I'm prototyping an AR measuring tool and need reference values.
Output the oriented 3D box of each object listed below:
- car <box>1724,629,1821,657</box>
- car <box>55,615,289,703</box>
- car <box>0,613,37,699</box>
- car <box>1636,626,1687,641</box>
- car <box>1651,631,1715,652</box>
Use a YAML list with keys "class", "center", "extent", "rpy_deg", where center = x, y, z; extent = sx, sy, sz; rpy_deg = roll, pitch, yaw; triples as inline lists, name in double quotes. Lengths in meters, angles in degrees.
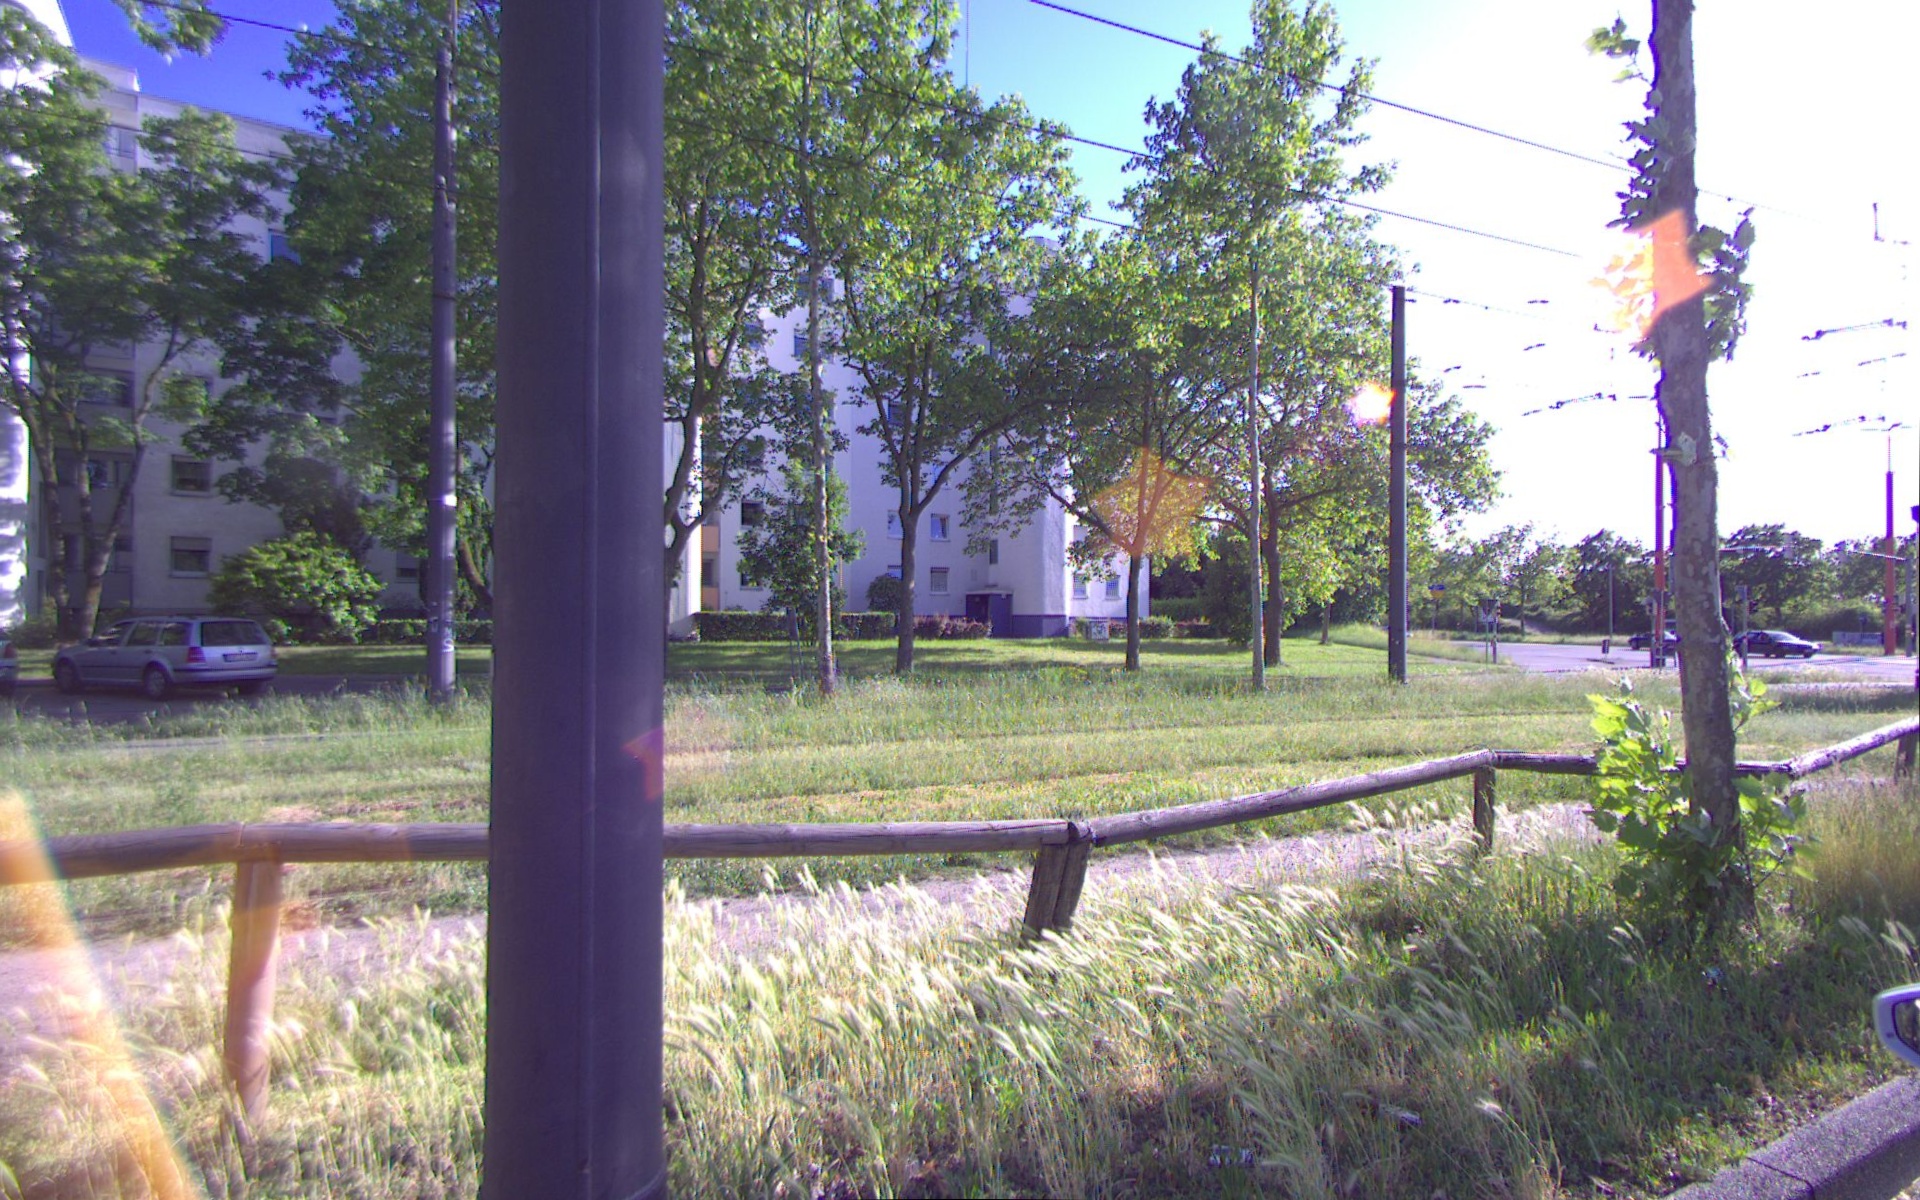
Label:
- class: "car"
  center: [45.418, 2.380, 56.242]
  extent: [1.877, 1.483, 4.239]
  rpy_deg: [1, -1, -3]
- class: "car"
  center: [-14.477, 1.023, 18.483]
  extent: [3.609, 1.452, 1.732]
  rpy_deg: [0, -1, 20]
- class: "car"
  center: [-17.921, 0.924, 17.139]
  extent: [3.609, 1.452, 1.703]
  rpy_deg: [0, -1, 20]
- class: "car"
  center: [63.455, 3.013, 90.945]
  extent: [1.633, 1.327, 3.809]
  rpy_deg: [1, -1, -10]
- class: "car"
  center: [47.925, 2.734, 66.669]
  extent: [1.707, 1.327, 3.817]
  rpy_deg: [1, -1, 3]
